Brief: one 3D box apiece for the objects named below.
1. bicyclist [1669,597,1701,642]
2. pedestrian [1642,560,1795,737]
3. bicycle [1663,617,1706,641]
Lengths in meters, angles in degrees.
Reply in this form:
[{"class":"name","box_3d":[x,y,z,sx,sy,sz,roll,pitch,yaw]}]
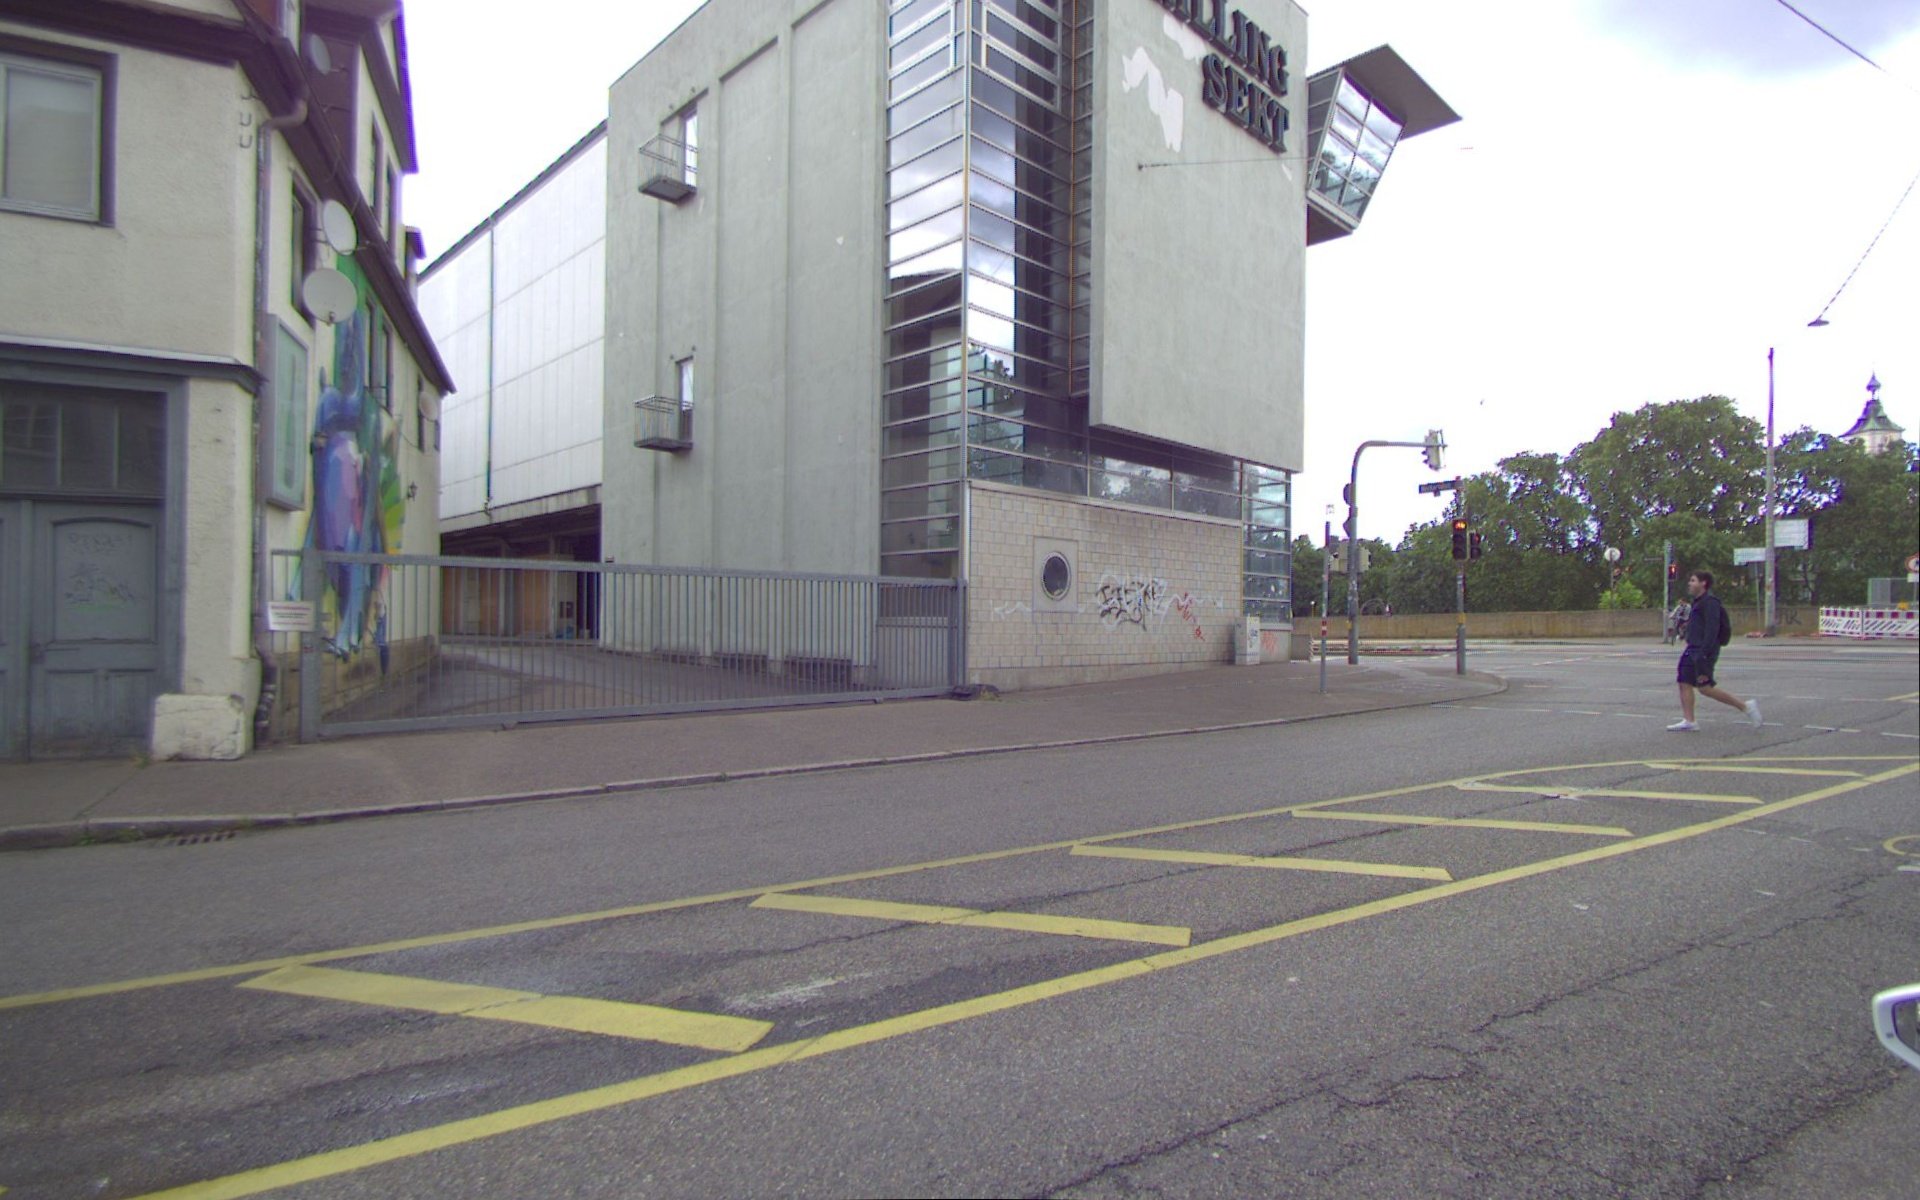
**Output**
[{"class":"bicyclist","box_3d":[27.727,0.740,38.425,0.800,1.723,0.721,1,-1,-26]},{"class":"pedestrian","box_3d":[8.717,0.512,11.568,1.045,1.911,1.083,-1,1,-30]},{"class":"bicycle","box_3d":[27.778,1.115,38.491,1.855,0.904,0.539,1,-1,-26]}]
